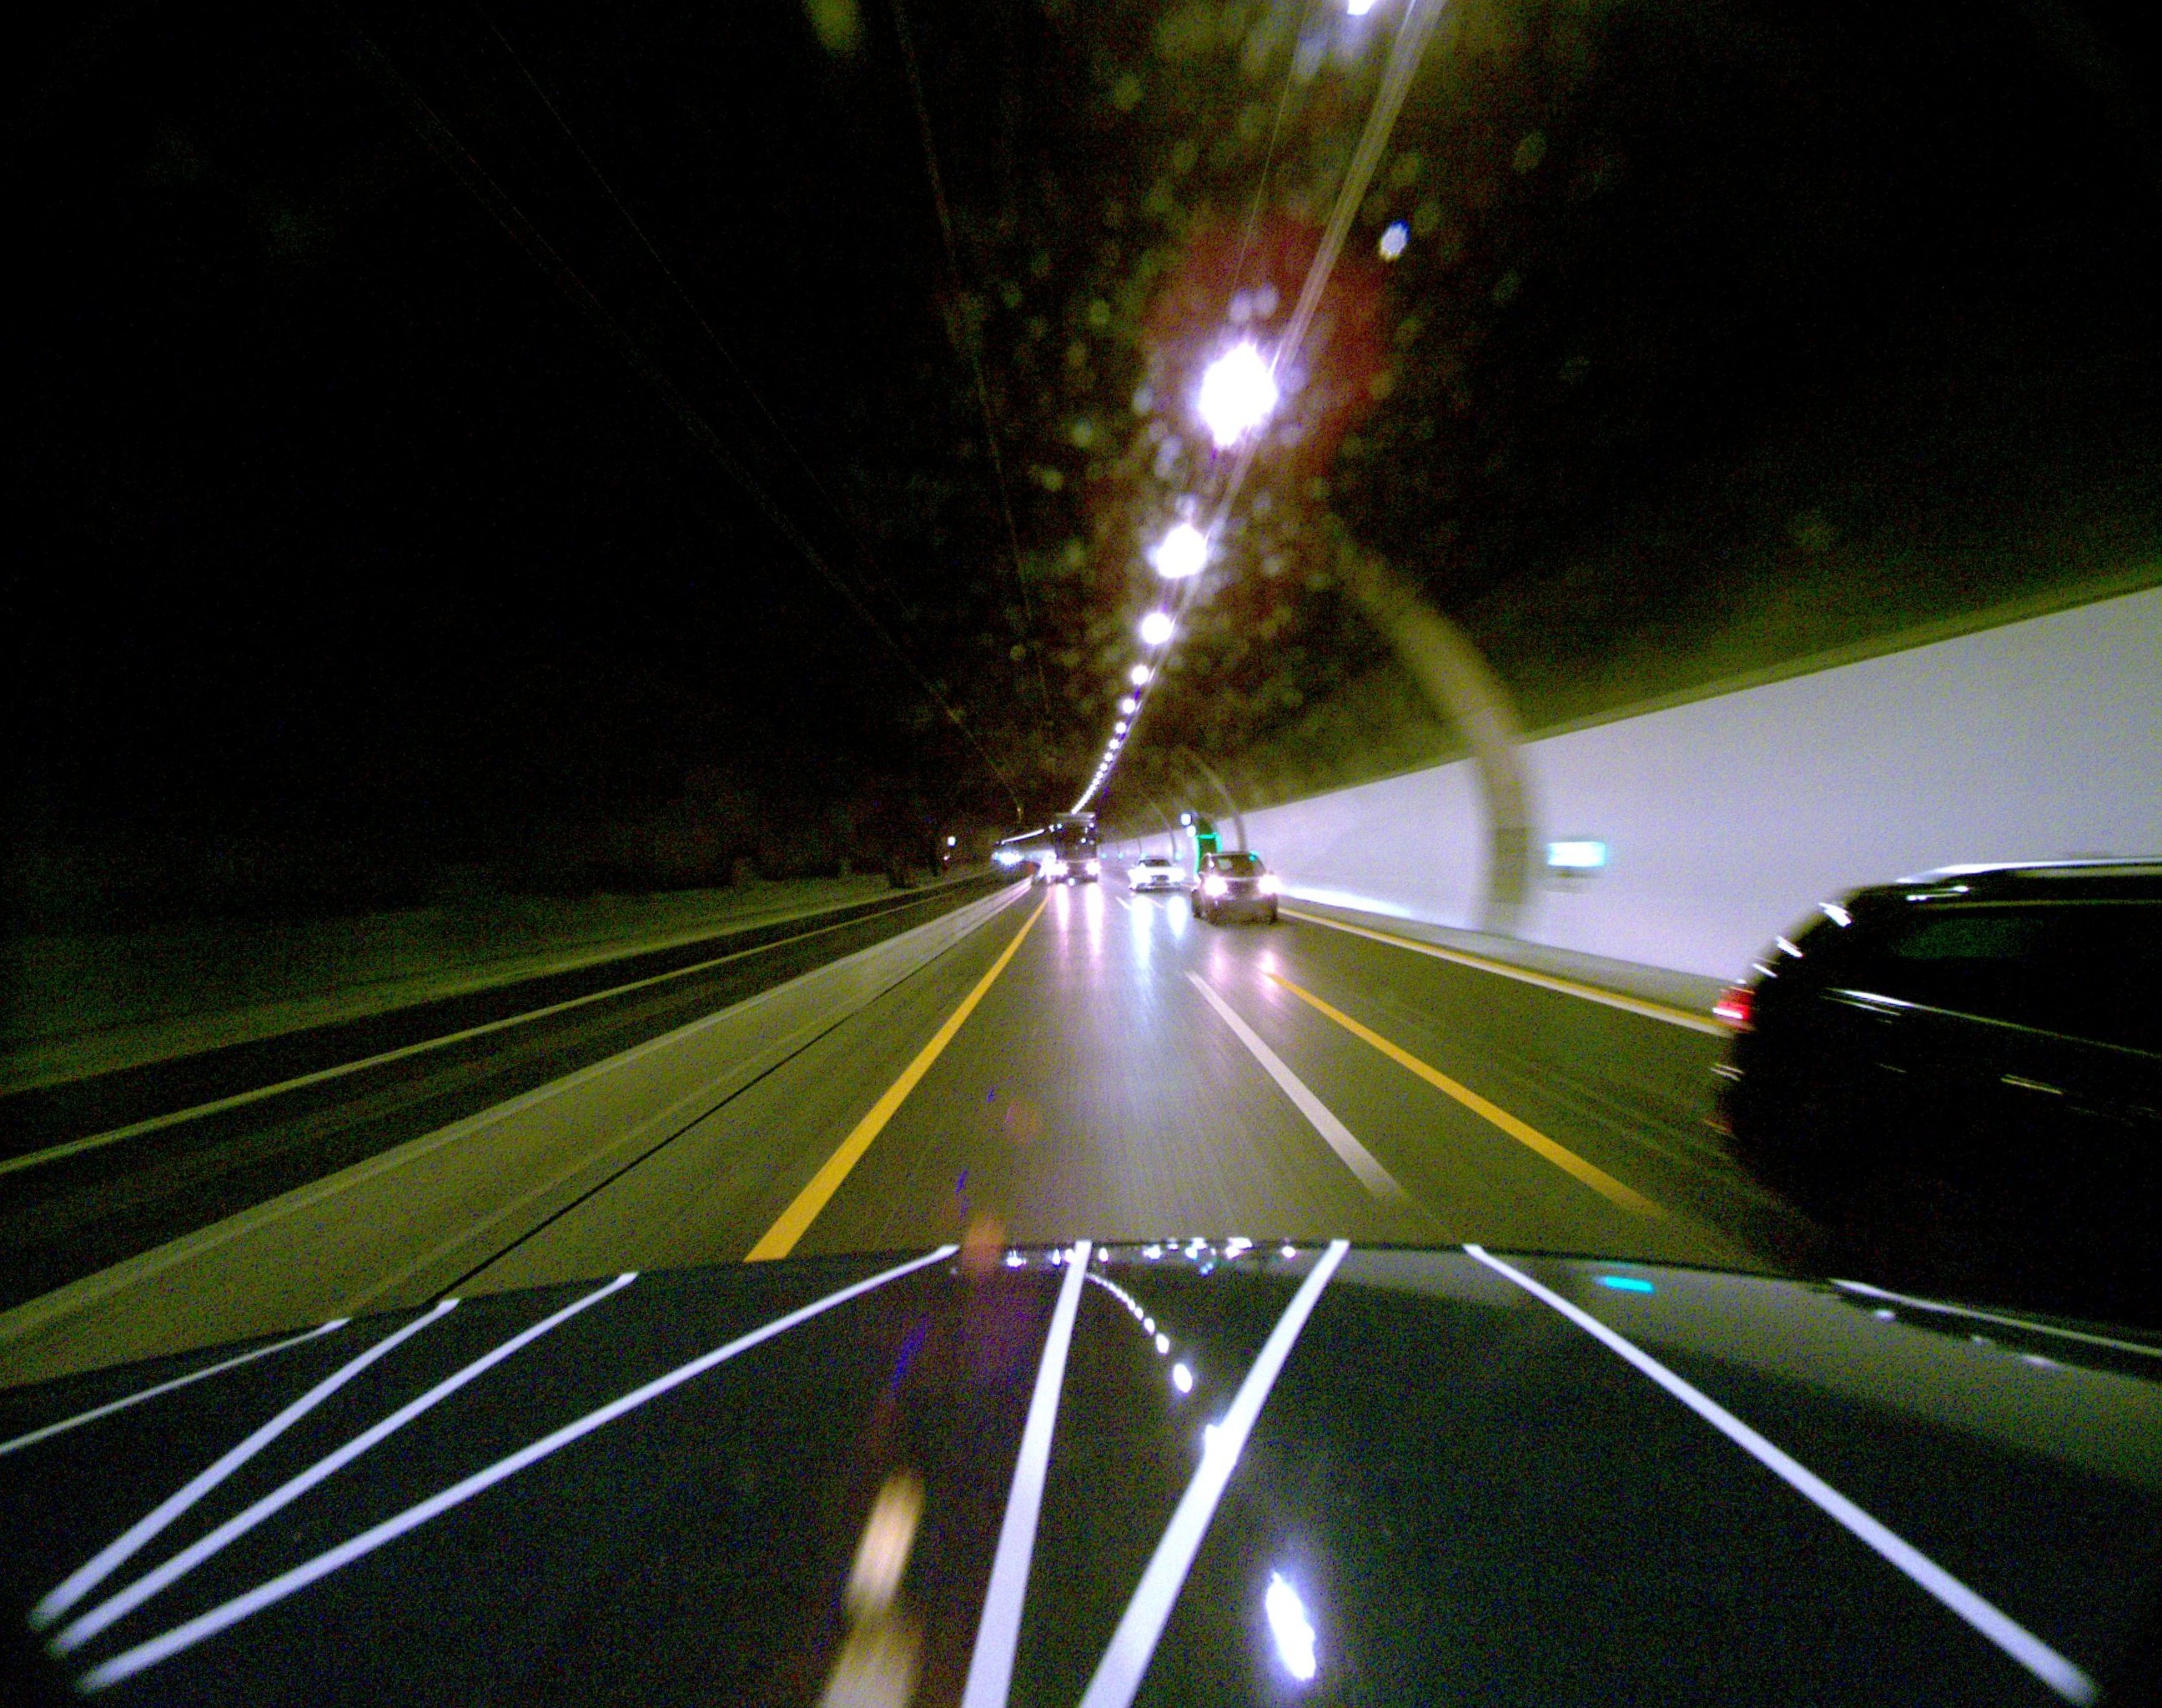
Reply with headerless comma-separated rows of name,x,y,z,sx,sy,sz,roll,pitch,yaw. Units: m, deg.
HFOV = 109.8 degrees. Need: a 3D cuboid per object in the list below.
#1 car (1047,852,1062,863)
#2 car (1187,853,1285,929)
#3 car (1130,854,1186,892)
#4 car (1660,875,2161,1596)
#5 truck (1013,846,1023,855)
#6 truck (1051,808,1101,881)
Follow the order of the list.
car,-3.896,0.483,112.420,1.999,1.524,3.998,-2,0,-4
car,3.365,0.754,16.935,1.531,1.508,2.651,-2,0,-2
car,3.137,0.756,31.713,1.909,1.412,4.061,-2,0,1
car,3.164,0.841,0.541,1.782,1.430,4.882,-2,0,1
truck,-19.390,-1.009,234.906,2.611,2.723,6.393,-2,0,-8
truck,-0.298,-0.566,47.828,2.742,4.127,8.099,-2,0,0
